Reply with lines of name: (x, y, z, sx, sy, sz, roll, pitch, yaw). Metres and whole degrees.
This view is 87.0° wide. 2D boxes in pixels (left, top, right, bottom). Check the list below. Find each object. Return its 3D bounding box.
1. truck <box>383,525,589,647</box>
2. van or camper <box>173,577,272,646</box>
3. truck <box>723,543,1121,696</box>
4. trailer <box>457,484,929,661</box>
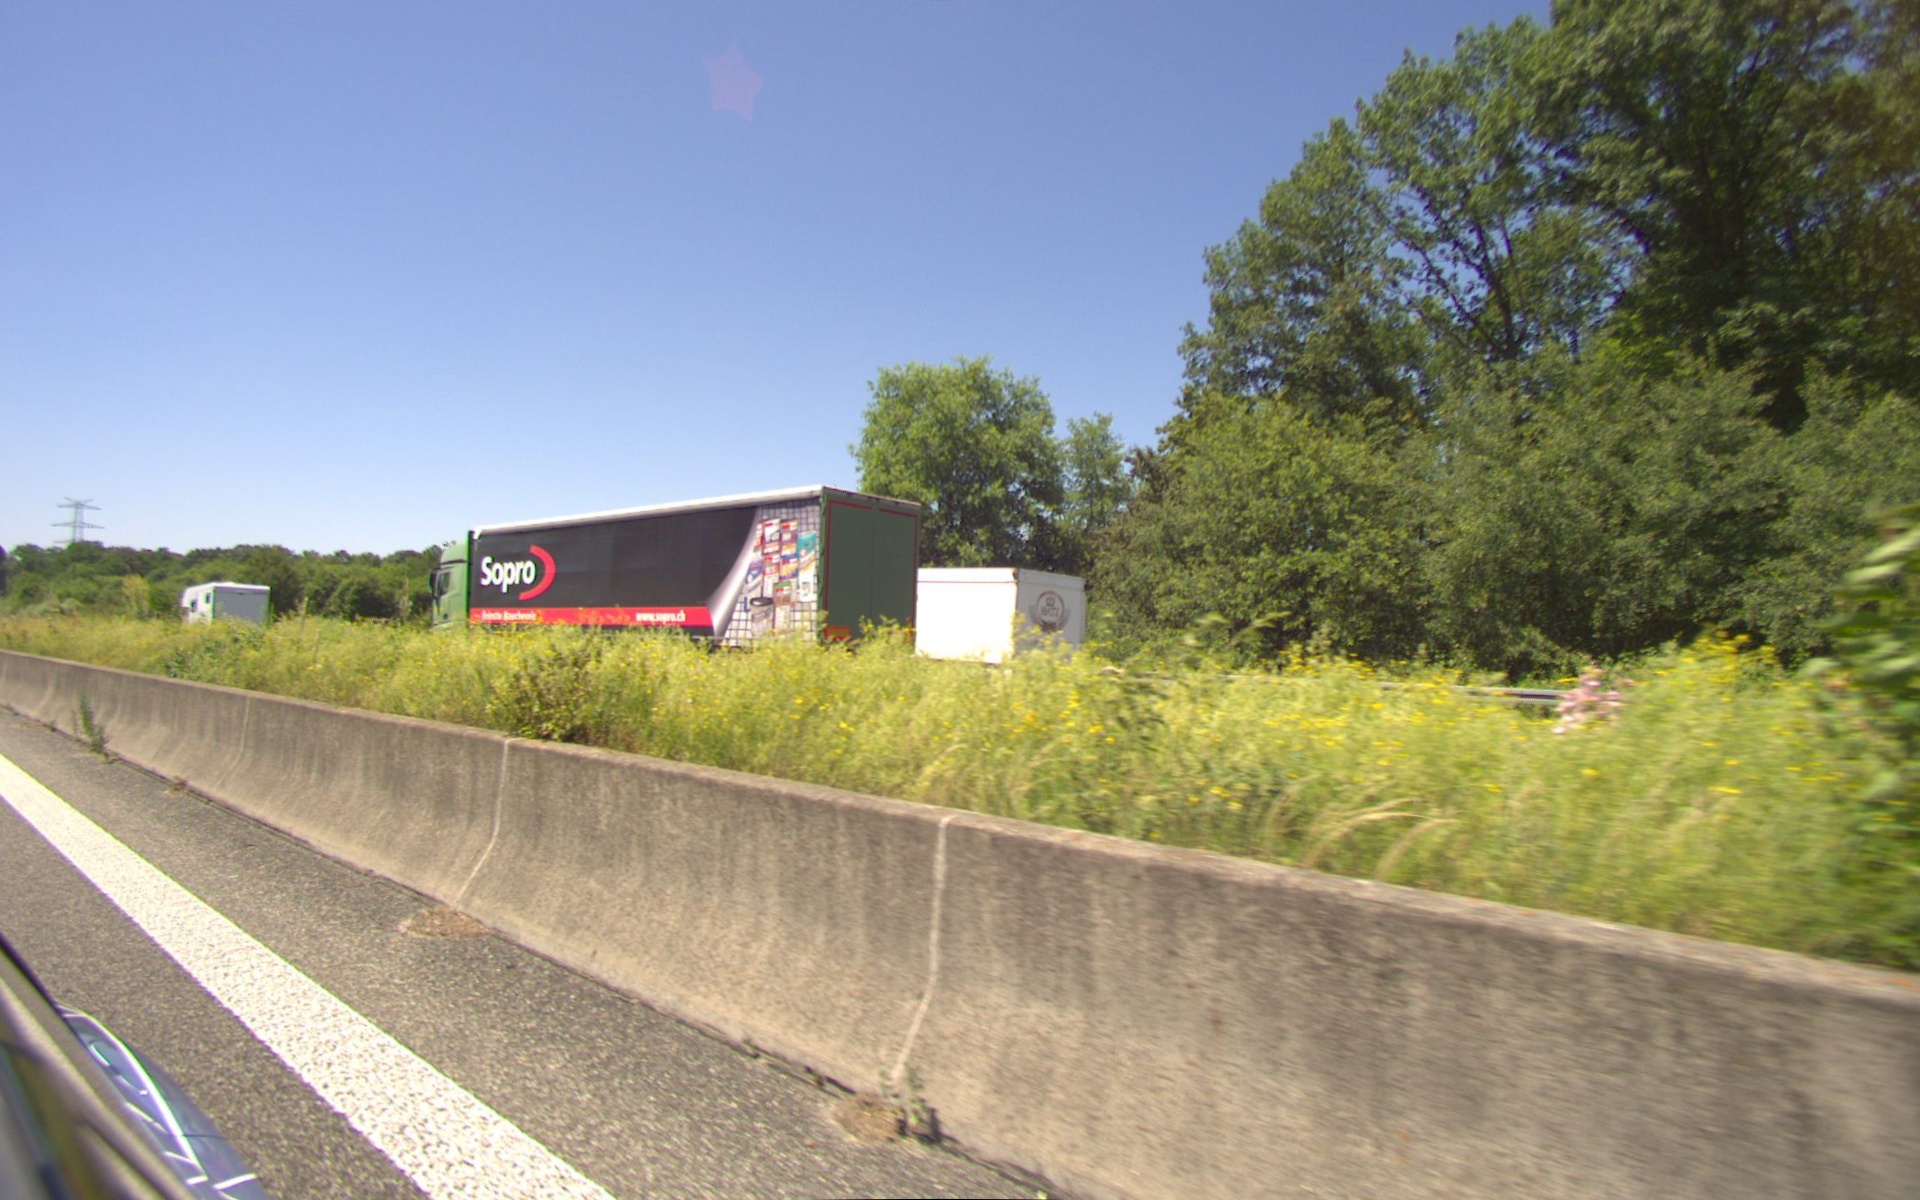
truck: (-13.393, -0.275, 28.335, 6.967, 3.031, 2.580, -1, -2, 41)
van or camper: (-36.751, 0.592, 50.310, 7.531, 3.179, 2.481, -1, -1, 42)
truck: (-1.372, 0.465, 24.079, 10.480, 2.964, 2.659, -1, -2, 41)
trailer: (-6.823, -0.353, 22.706, 14.222, 2.992, 2.615, -1, -2, 40)
